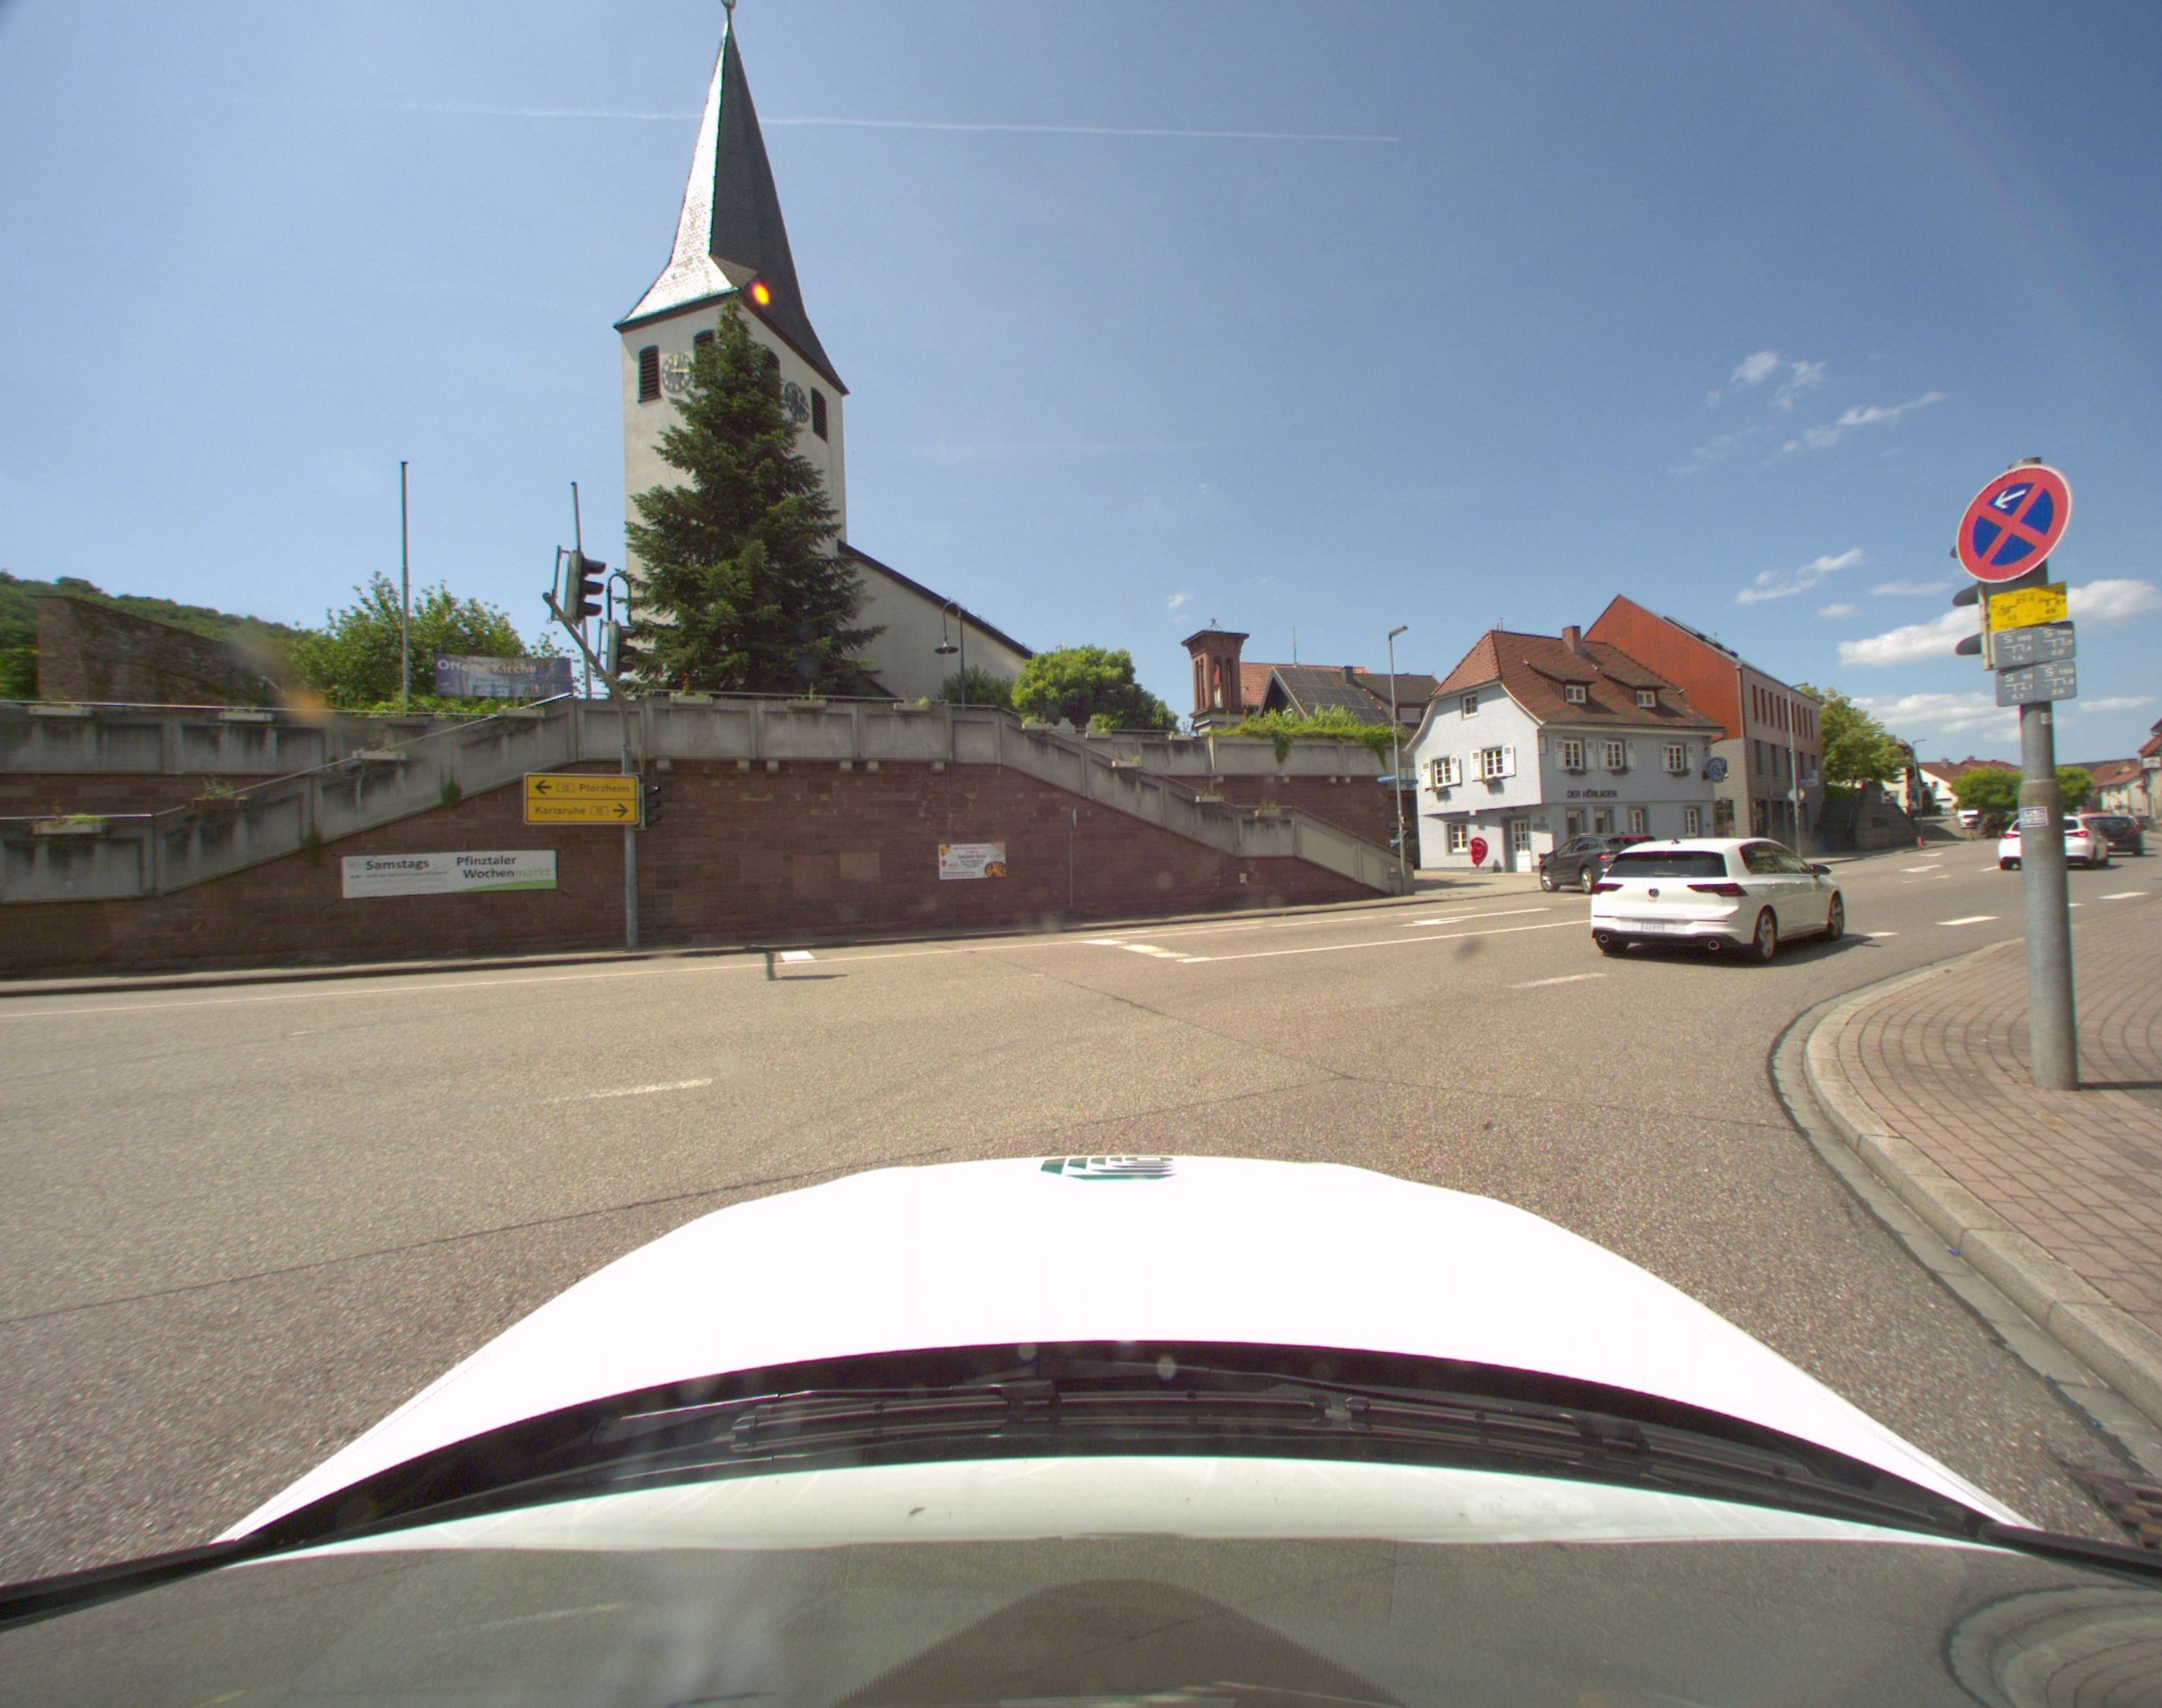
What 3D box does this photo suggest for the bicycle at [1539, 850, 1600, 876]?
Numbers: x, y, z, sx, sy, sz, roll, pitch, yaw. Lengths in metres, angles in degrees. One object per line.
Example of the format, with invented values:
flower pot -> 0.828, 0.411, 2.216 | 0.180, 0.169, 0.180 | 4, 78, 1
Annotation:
bicycle -> 18.041, 0.330, 30.121 | 1.804, 0.899, 0.651 | -1, 0, 13

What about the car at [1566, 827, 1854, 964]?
car -> 8.252, 0.437, 10.607 | 3.878, 1.458, 1.770 | -2, -1, -34

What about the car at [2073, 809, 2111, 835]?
car -> 79.597, -2.507, 64.144 | 3.882, 1.840, 1.768 | -2, -1, -39

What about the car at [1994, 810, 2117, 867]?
car -> 27.476, -0.432, 22.939 | 3.878, 1.458, 1.770 | -2, -1, -34

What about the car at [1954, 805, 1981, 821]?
car -> 105.579, -4.825, 96.953 | 4.021, 1.717, 1.976 | -1, 0, -40

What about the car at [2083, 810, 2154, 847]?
car -> 44.501, -1.090, 34.999 | 3.882, 1.458, 1.768 | -2, -1, -39

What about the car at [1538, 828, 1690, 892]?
car -> 14.574, 0.143, 22.596 | 1.937, 1.582, 4.338 | -1, 0, 10

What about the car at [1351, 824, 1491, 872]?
car -> 16.810, -0.307, 40.346 | 5.983, 2.014, 2.513 | -2, -2, -13

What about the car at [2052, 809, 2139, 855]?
car -> 35.701, -0.761, 28.647 | 3.881, 1.458, 1.768 | -2, -1, -38
